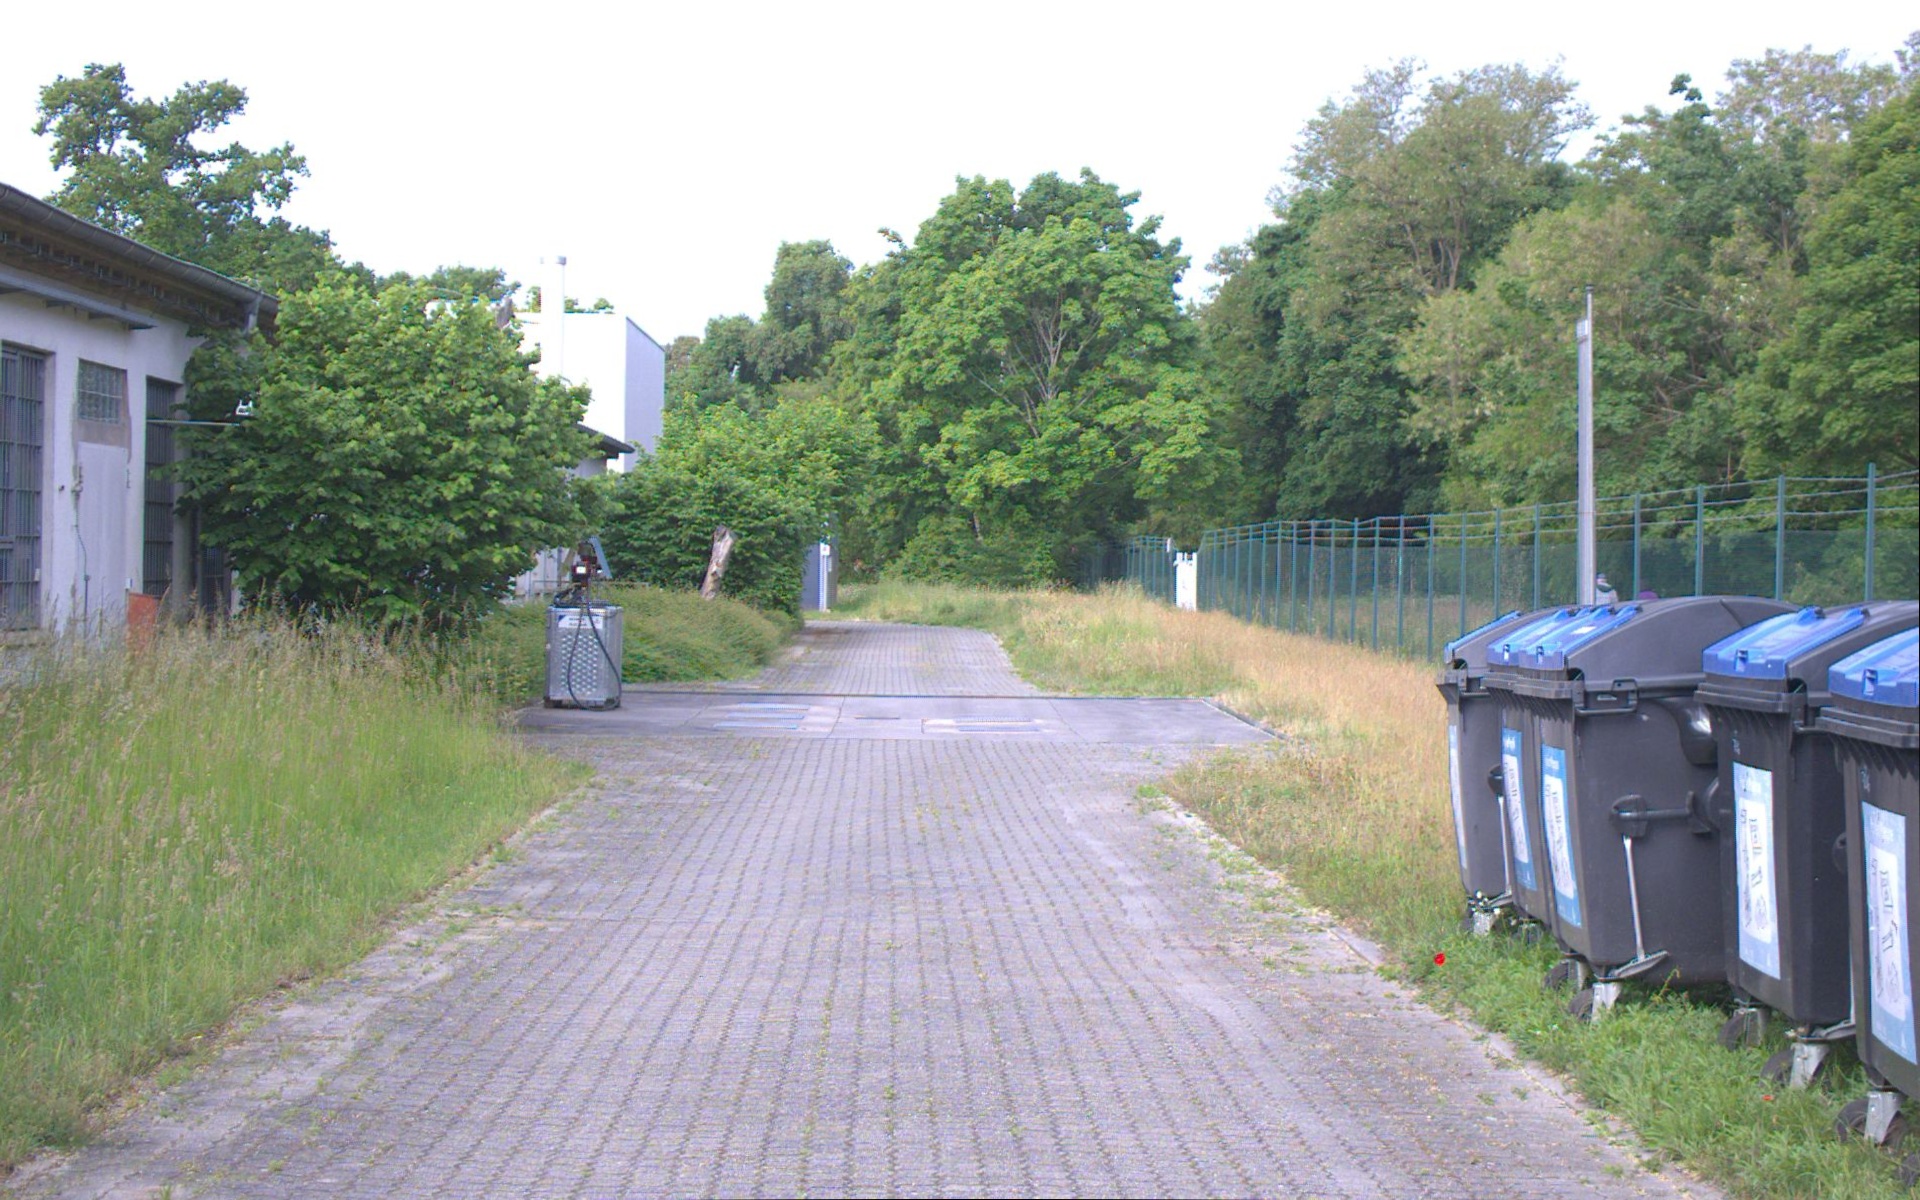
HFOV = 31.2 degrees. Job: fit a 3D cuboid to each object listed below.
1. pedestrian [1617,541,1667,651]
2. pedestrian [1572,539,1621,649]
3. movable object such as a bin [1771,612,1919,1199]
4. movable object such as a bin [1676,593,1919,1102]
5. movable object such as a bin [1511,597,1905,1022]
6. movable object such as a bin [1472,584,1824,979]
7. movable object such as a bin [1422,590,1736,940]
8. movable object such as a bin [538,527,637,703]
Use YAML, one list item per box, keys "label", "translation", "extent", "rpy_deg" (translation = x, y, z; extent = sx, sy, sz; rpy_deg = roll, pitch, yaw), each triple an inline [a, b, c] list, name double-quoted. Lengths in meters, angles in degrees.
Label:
- label: "pedestrian"
  translation: [12.479, -0.079, 62.939]
  extent: [0.759, 2.007, 0.664]
  rpy_deg: [0, 1, -2]
- label: "pedestrian"
  translation: [11.695, -0.116, 63.168]
  extent: [0.759, 2.007, 0.664]
  rpy_deg: [0, 1, -2]
- label: "movable object such as a bin"
  translation: [2.709, 0.702, 8.464]
  extent: [1.154, 1.320, 1.493]
  rpy_deg: [1, 0, 5]
- label: "movable object such as a bin"
  translation: [2.767, 0.679, 10.045]
  extent: [1.123, 1.369, 1.493]
  rpy_deg: [1, 0, 5]
- label: "movable object such as a bin"
  translation: [2.472, 0.660, 11.548]
  extent: [1.123, 1.317, 1.325]
  rpy_deg: [0, 1, 5]
- label: "movable object such as a bin"
  translation: [2.536, 0.642, 12.850]
  extent: [1.123, 1.374, 1.325]
  rpy_deg: [1, 0, 5]
- label: "movable object such as a bin"
  translation: [2.528, 0.648, 14.227]
  extent: [1.123, 1.346, 1.425]
  rpy_deg: [1, 0, 5]
- label: "movable object such as a bin"
  translation: [-4.251, 0.161, 39.249]
  extent: [0.935, 1.975, 0.853]
  rpy_deg: [0, 1, 8]
